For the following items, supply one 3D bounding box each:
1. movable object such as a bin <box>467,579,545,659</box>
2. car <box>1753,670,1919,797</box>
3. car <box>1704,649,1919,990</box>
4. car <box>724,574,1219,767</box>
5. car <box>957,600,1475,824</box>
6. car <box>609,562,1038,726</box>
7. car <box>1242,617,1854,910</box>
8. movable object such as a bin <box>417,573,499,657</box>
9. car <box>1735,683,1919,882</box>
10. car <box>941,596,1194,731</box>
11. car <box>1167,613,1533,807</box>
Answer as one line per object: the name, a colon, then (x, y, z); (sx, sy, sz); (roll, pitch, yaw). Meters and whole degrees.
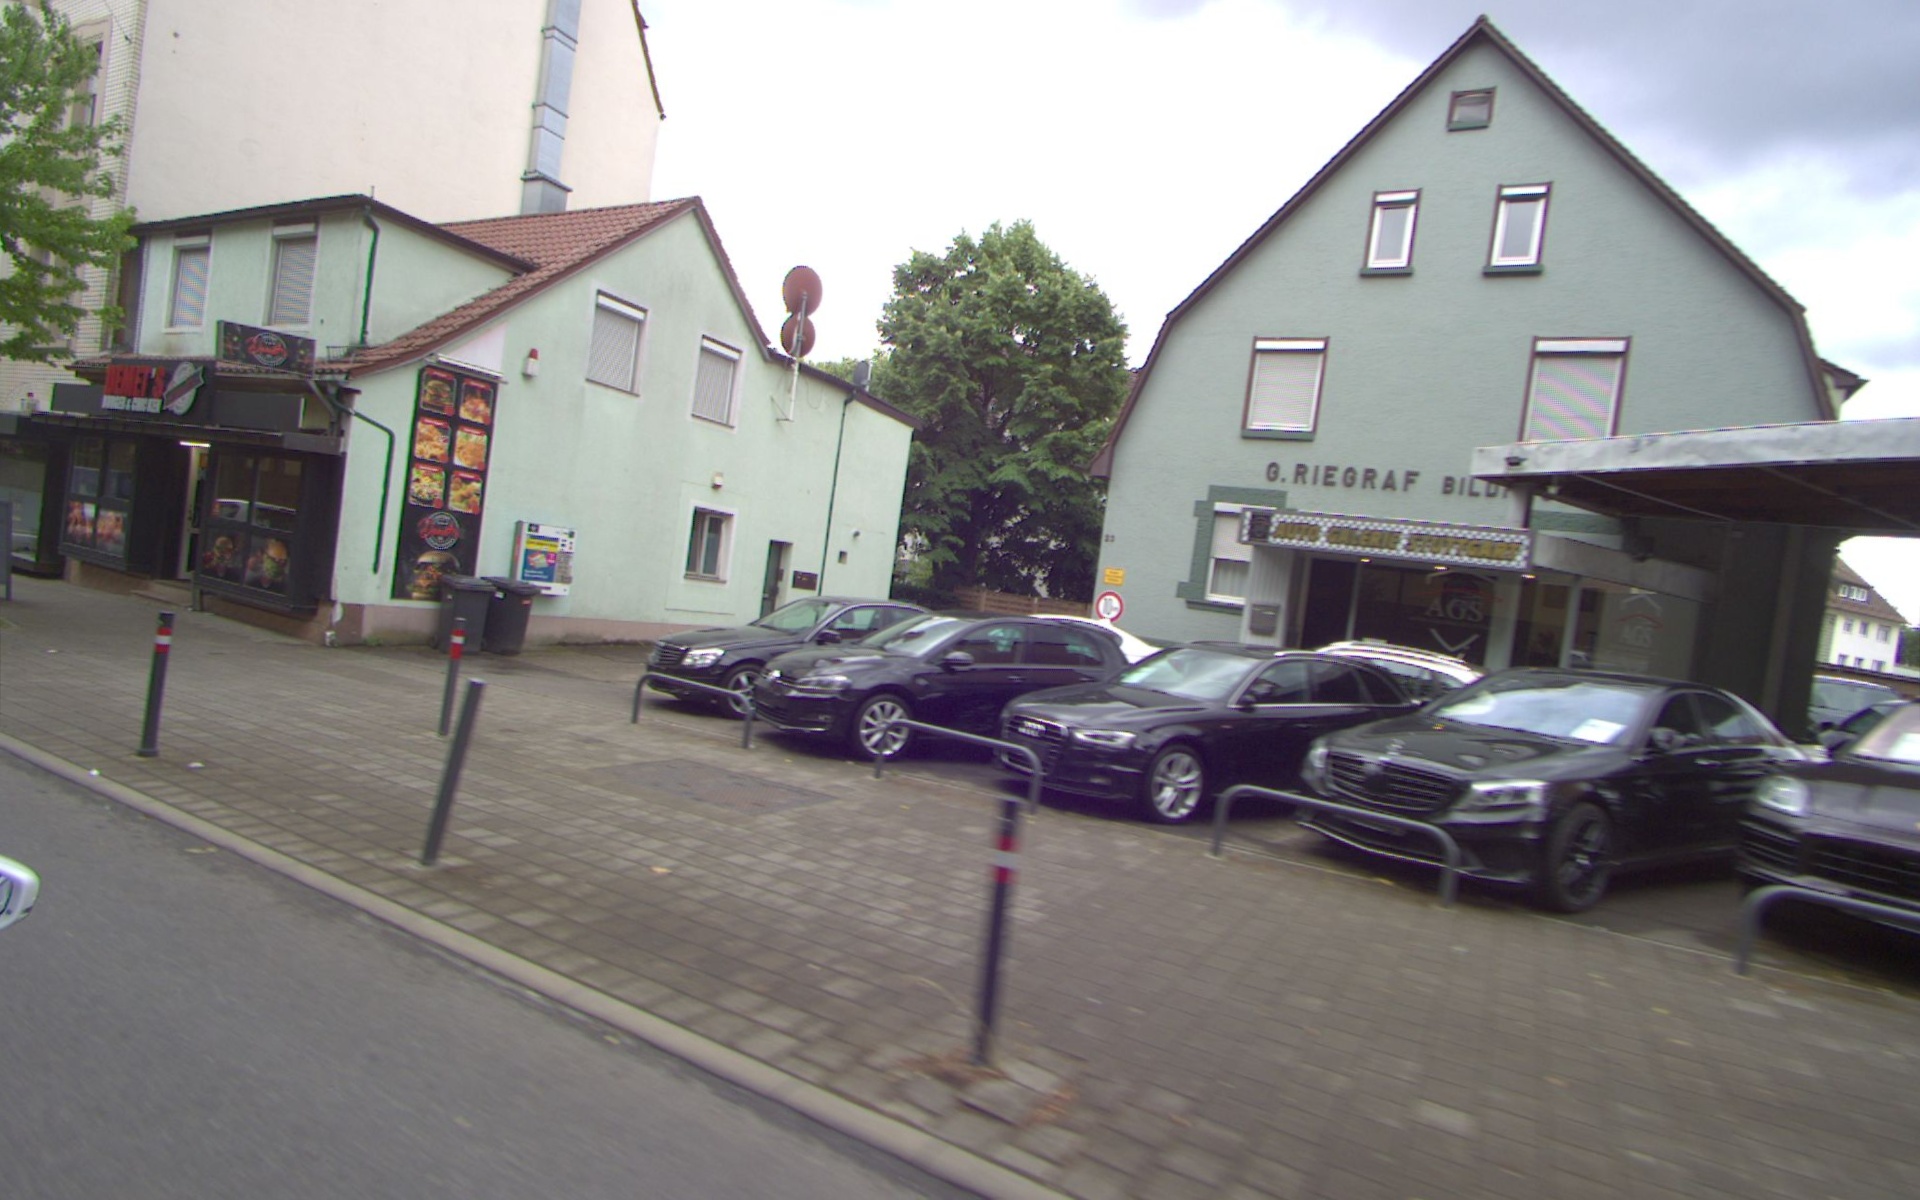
movable object such as a bin: (-6.552, 0.274, 14.522); (0.634, 1.054, 0.699); (7, 0, 32)
car: (15.832, 2.316, 18.202); (1.690, 1.845, 3.883); (6, -1, 32)
car: (7.123, 1.365, 6.531); (4.866, 1.695, 1.983); (5, 1, -33)
car: (0.257, 0.790, 10.540); (4.871, 1.487, 1.912); (7, -1, -34)
car: (2.546, 1.057, 9.344); (4.874, 1.511, 1.838); (7, -1, -35)
car: (-1.509, 0.610, 12.386); (4.881, 1.487, 1.908); (7, -1, -40)
car: (4.724, 1.209, 7.857); (4.868, 1.559, 1.984); (7, -1, -32)
movable object such as a bin: (-6.908, 0.215, 13.859); (0.634, 1.054, 0.699); (7, 0, 32)
car: (9.984, 1.880, 9.528); (3.824, 1.685, 1.715); (6, 0, 30)
car: (1.745, 1.016, 16.752); (3.817, 1.685, 1.719); (7, 0, 5)
car: (4.746, 1.242, 12.370); (3.824, 1.685, 1.715); (6, 0, 30)
